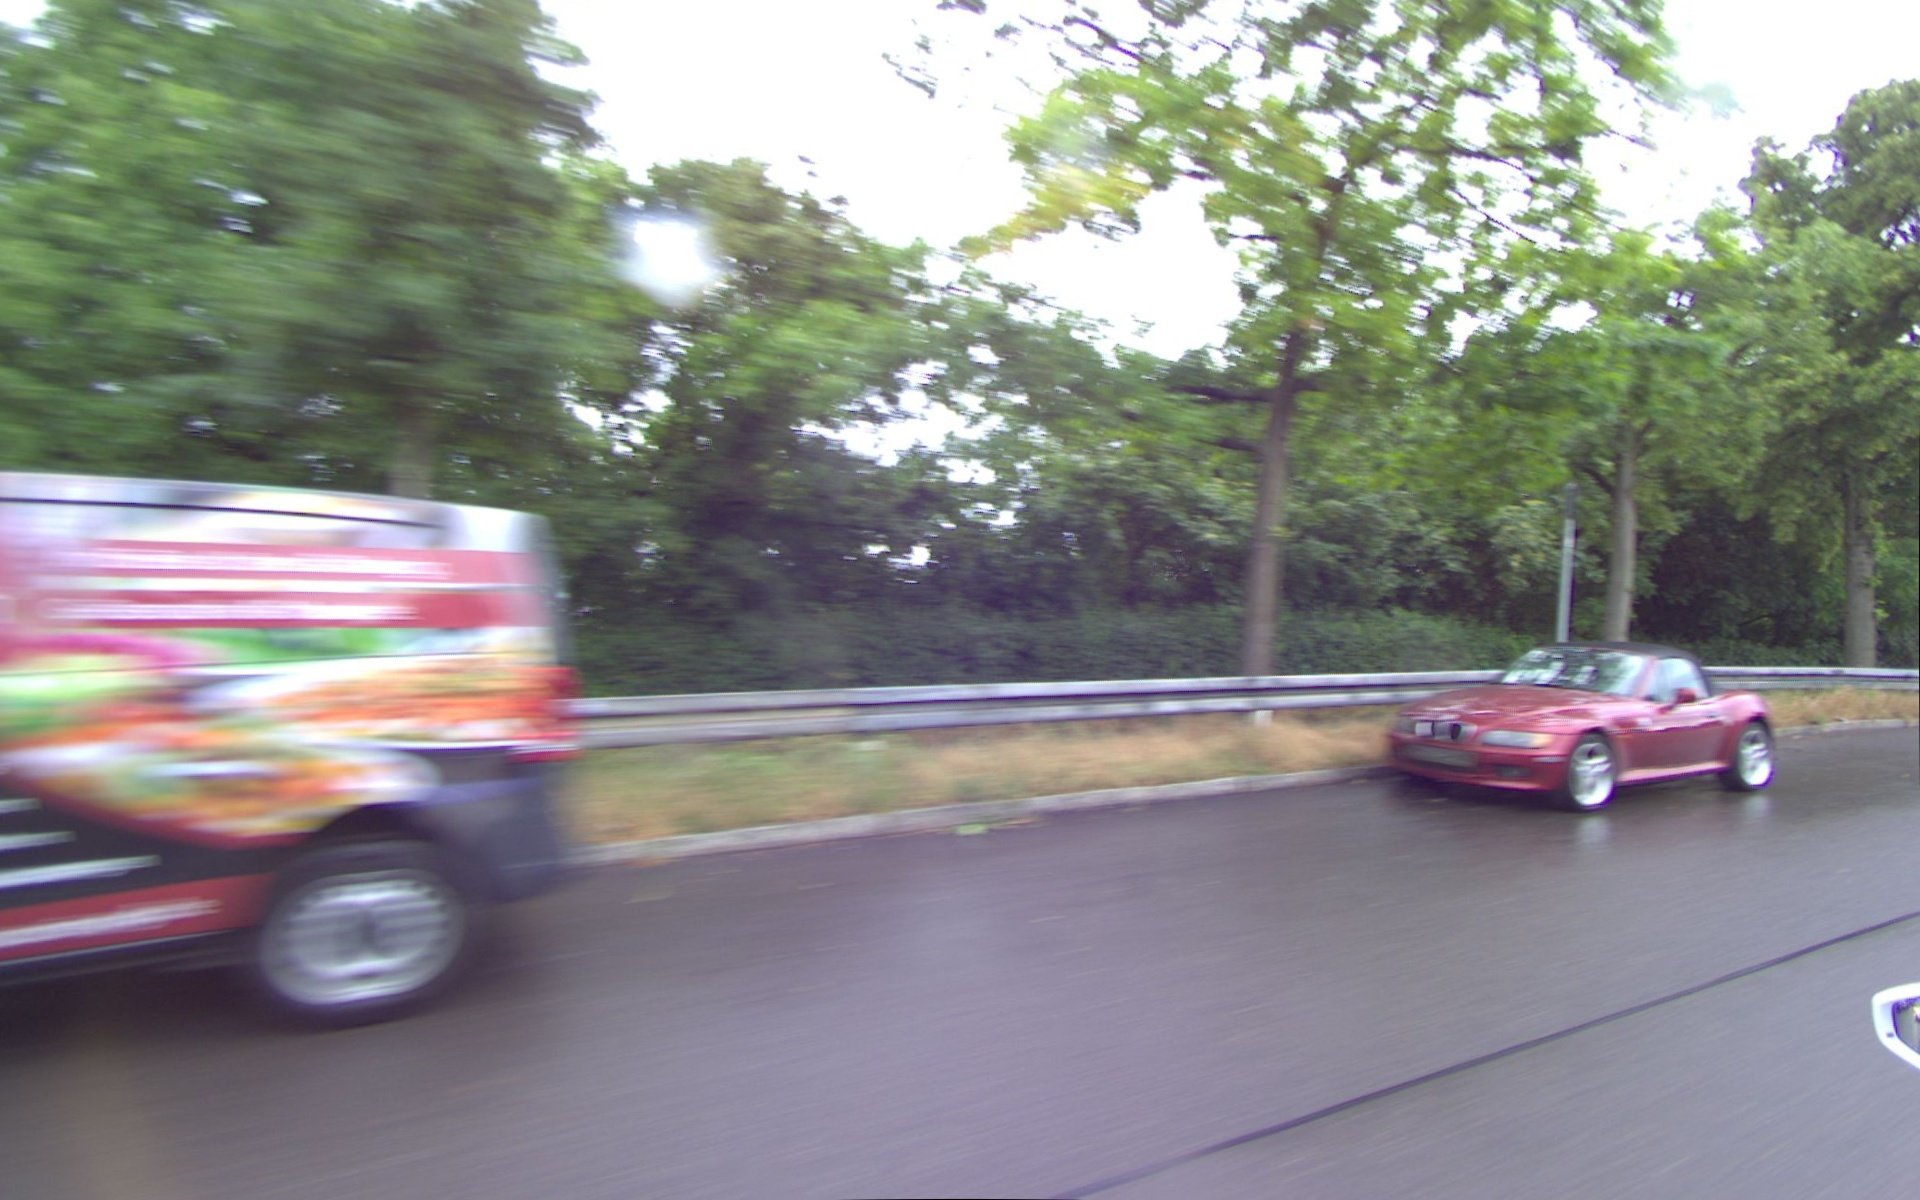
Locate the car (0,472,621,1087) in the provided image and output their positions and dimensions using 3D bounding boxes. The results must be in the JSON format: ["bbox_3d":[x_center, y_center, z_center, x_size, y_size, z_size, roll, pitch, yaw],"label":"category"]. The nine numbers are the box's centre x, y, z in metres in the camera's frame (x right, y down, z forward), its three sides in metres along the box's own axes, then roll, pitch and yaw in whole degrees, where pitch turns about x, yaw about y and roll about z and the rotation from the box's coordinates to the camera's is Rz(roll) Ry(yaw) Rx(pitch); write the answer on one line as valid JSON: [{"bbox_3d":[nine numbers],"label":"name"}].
[{"bbox_3d":[-4.139,0.530,3.499,5.315,1.843,2.075,2,-2,-29],"label":"car"}]

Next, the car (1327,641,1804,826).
[{"bbox_3d":[5.568,1.072,9.155,4.270,1.314,1.783,2,-2,-28],"label":"car"}]
